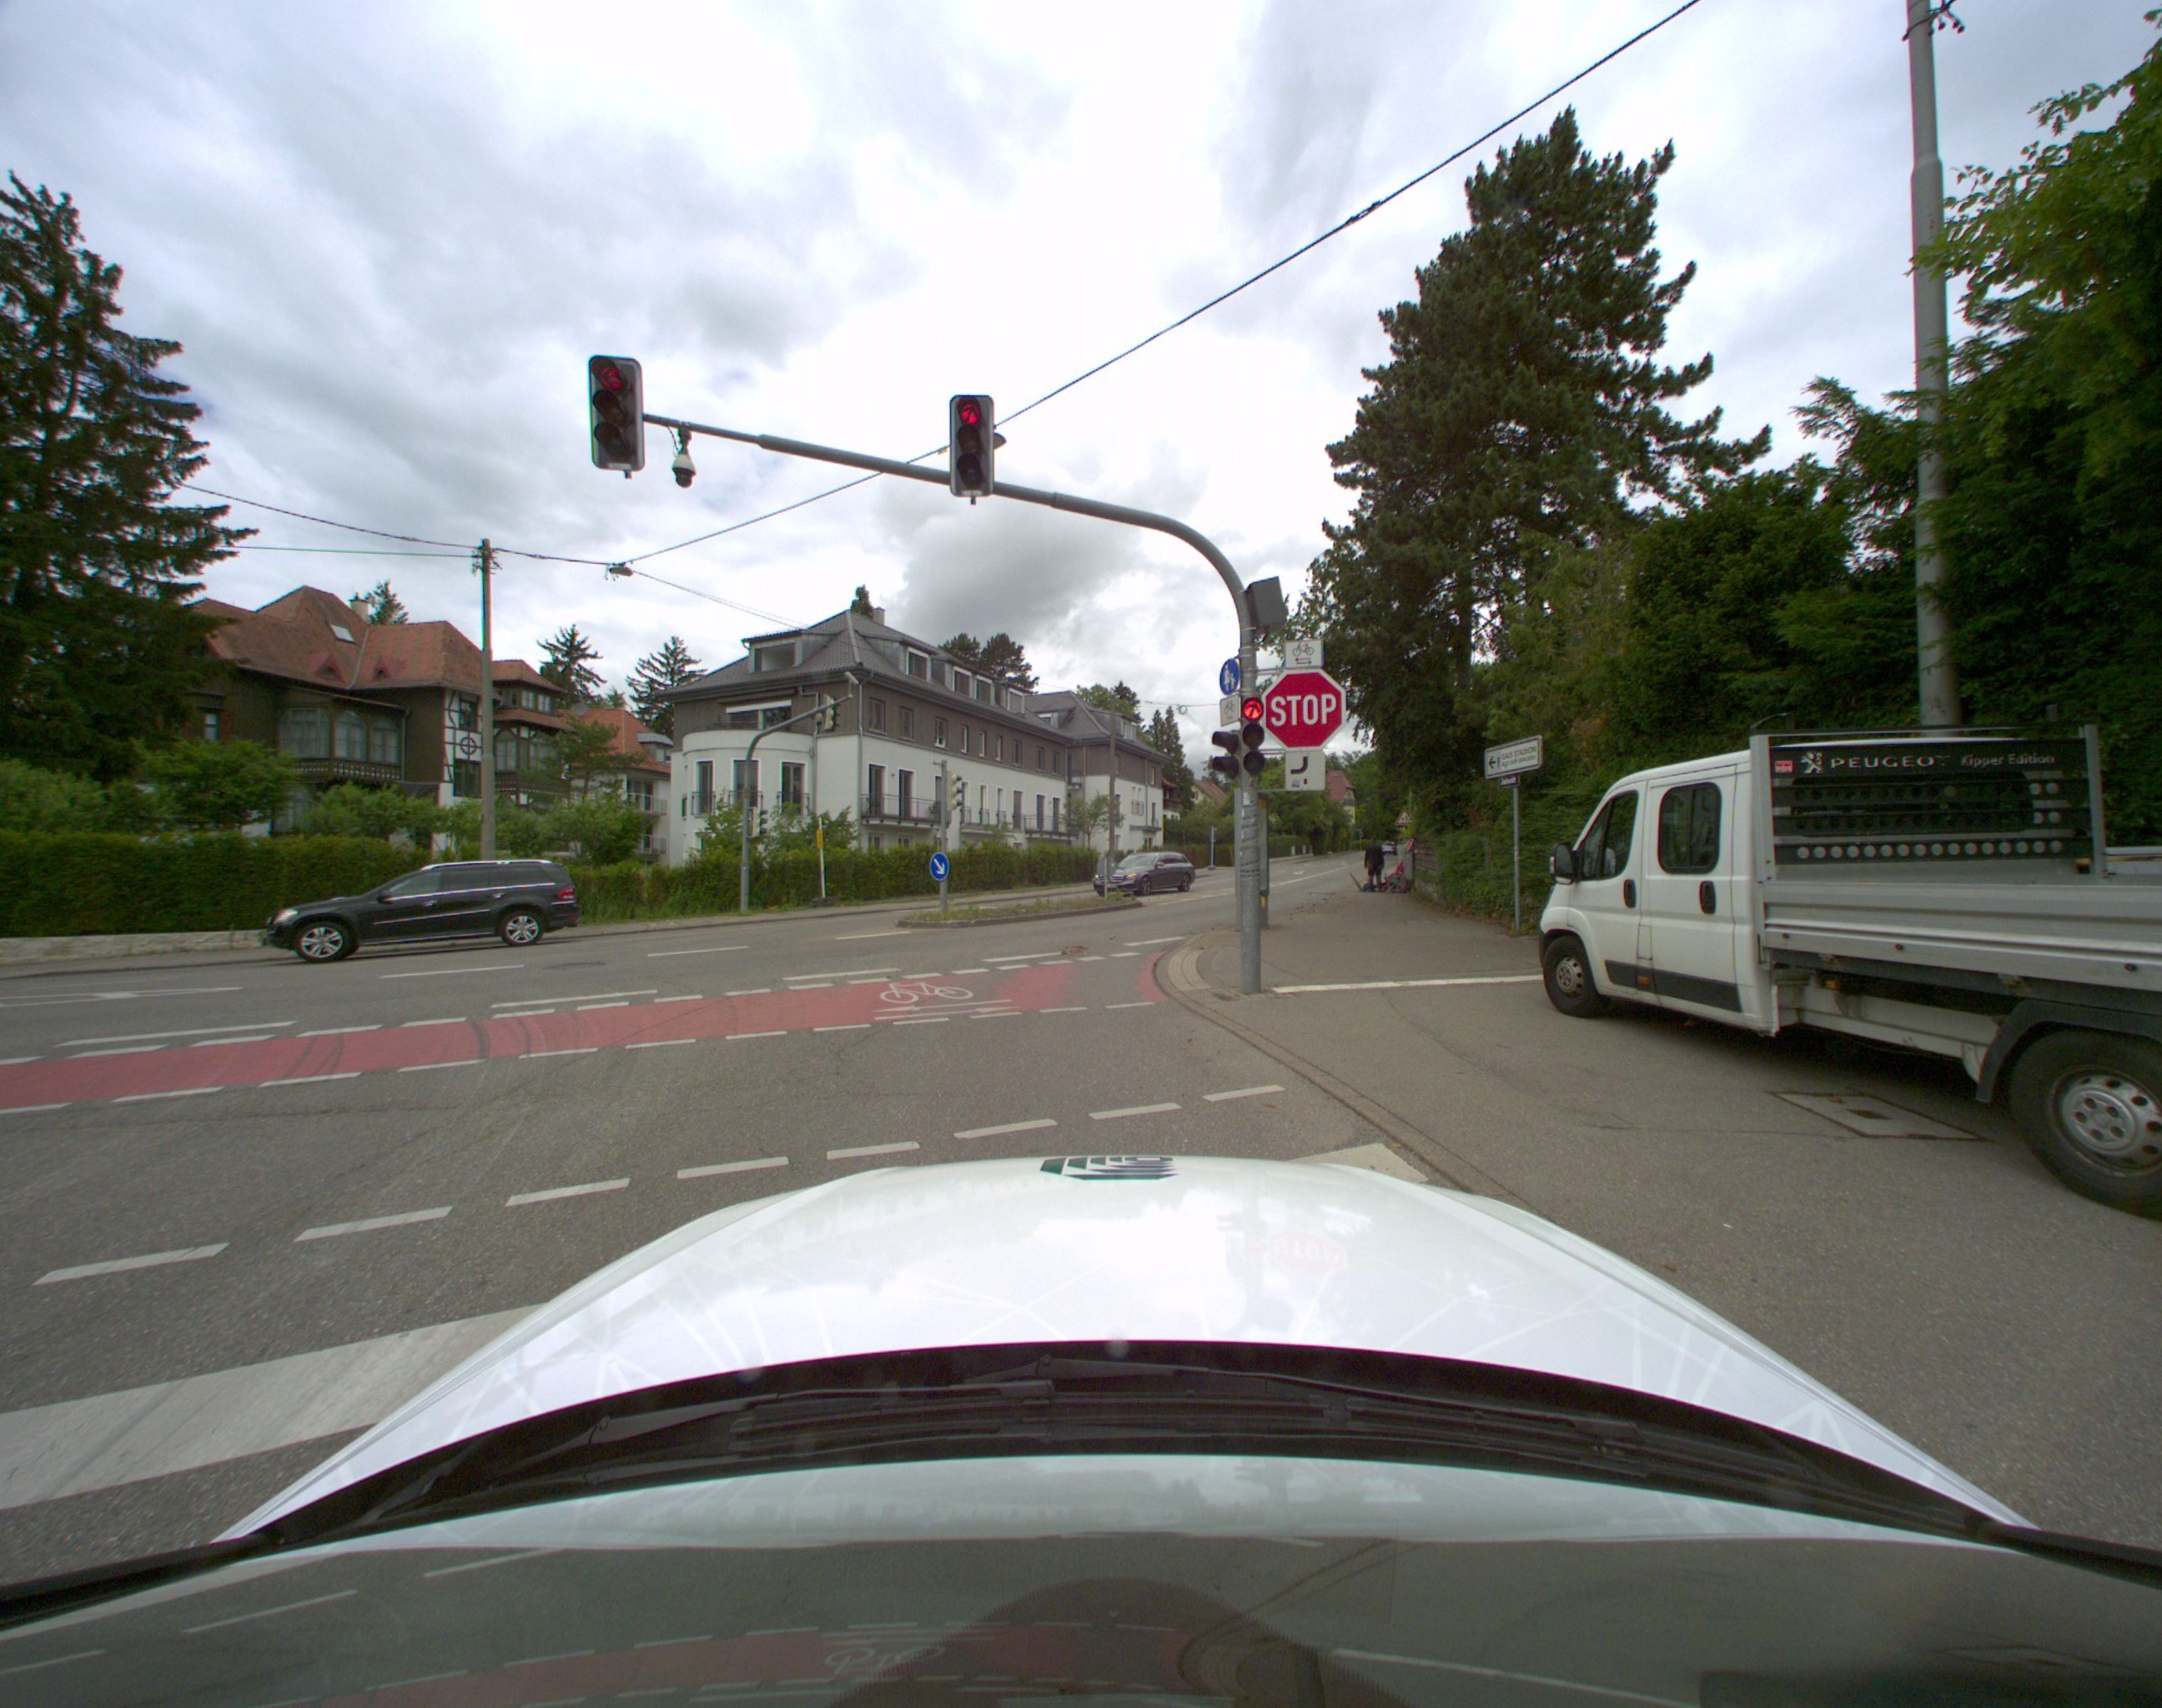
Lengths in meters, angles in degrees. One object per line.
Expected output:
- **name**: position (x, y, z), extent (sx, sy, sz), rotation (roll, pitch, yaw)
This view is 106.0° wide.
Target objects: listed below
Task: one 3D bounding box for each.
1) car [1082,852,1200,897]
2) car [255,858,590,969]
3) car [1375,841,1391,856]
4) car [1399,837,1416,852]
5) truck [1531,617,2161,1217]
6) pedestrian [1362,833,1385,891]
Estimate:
- **car**: position (2.235, 0.651, 28.869), extent (1.920, 1.403, 4.773), rotation (-1, 0, 36)
- **car**: position (-13.357, 1.113, 16.959), extent (5.167, 1.881, 1.896), rotation (-1, -1, -38)
- **car**: position (38.200, -0.738, 102.974), extent (1.791, 1.753, 4.511), rotation (-2, 0, 22)
- **car**: position (46.398, -1.373, 115.560), extent (1.975, 2.014, 4.023), rotation (-1, 0, 26)
- **truck**: position (5.270, 0.236, 4.964), extent (2.198, 2.243, 5.729), rotation (0, 0, 4)
- **pedestrian**: position (9.830, 0.265, 27.369), extent (0.594, 1.907, 0.559), rotation (0, -1, 2)
